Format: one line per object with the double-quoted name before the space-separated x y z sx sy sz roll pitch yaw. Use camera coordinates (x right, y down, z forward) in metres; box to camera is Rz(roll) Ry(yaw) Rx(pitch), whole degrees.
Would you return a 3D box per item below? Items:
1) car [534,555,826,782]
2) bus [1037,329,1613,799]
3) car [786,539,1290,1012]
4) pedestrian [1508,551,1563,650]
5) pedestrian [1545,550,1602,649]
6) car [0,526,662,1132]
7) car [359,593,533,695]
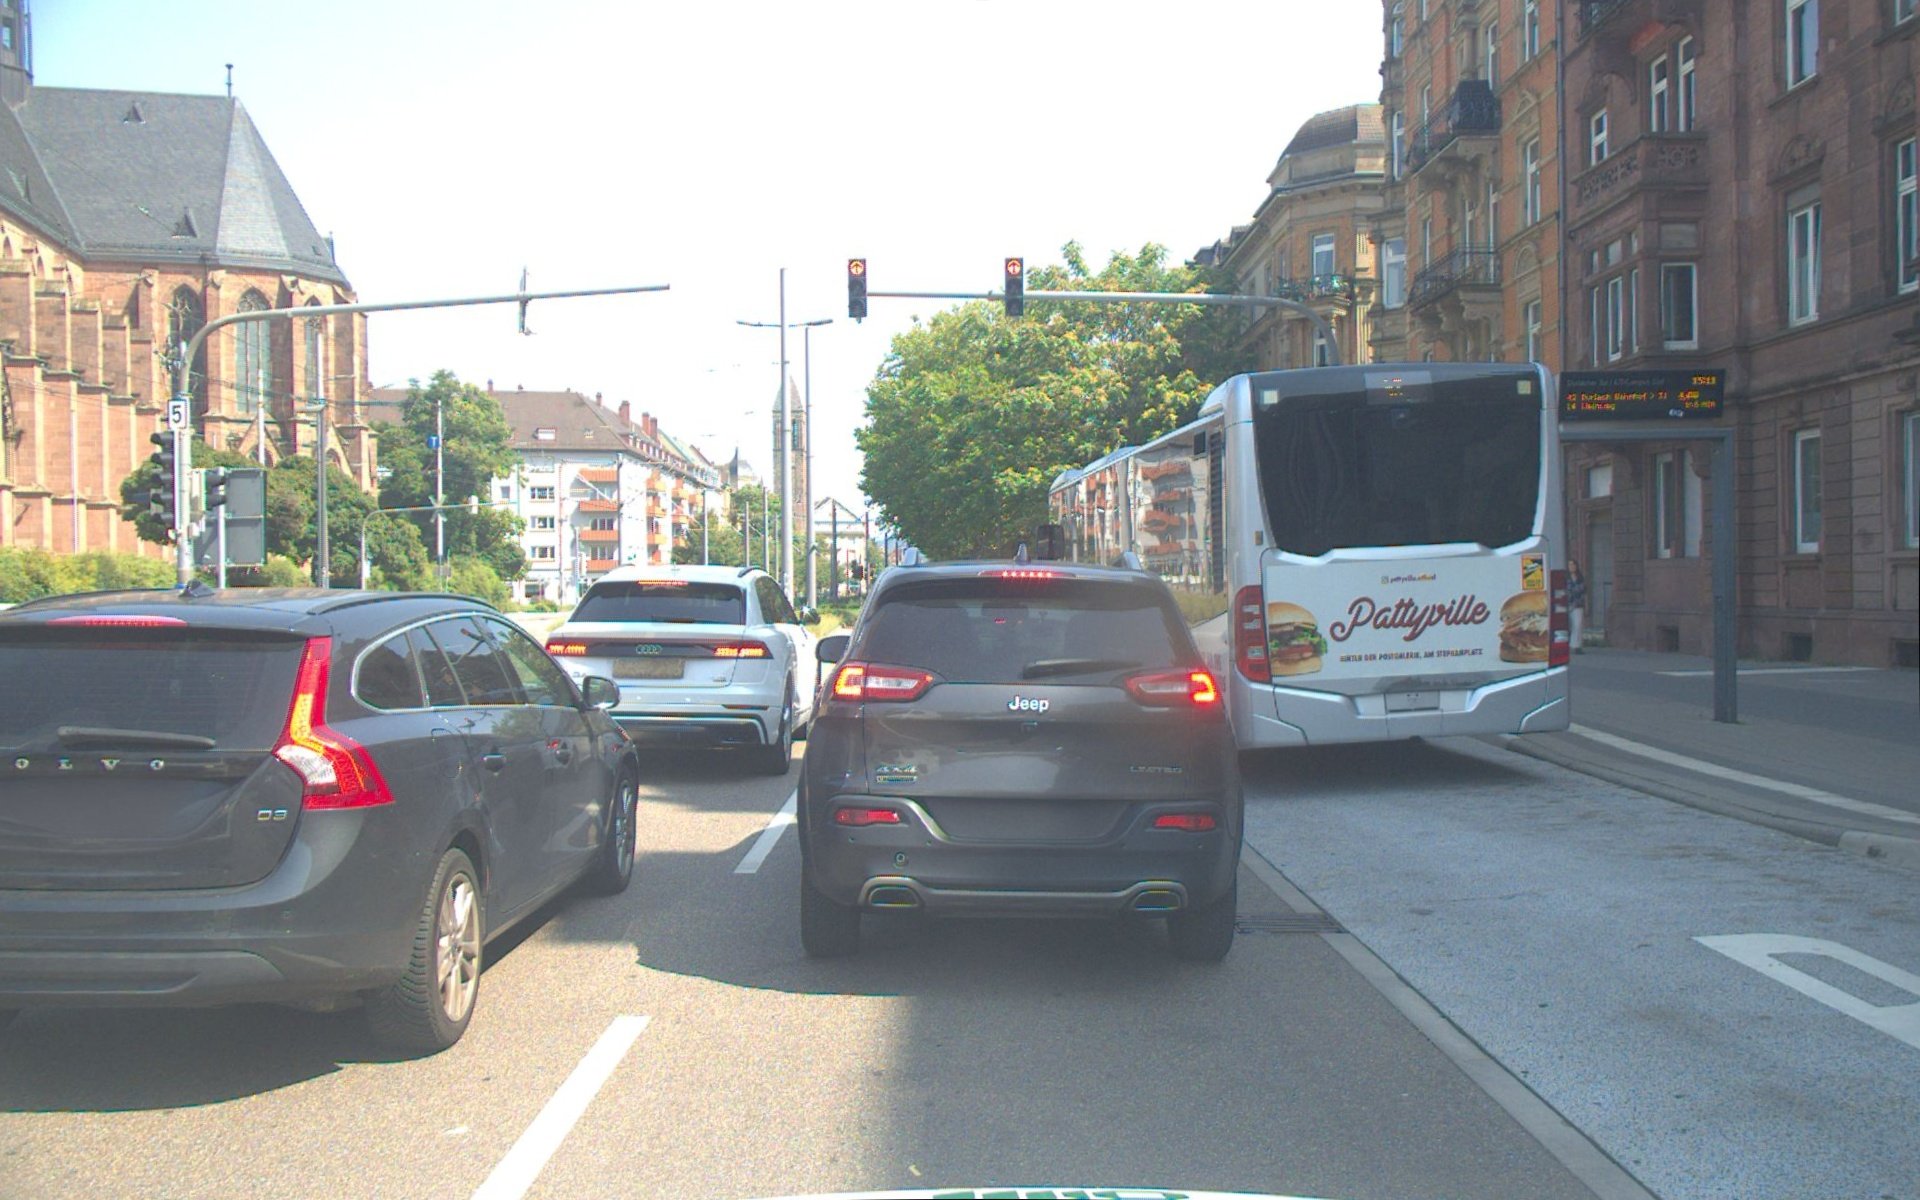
"car" -2.257 0.489 14.460 1.863 1.680 4.308 0 1 -1
"bus" 2.864 -0.264 17.600 2.689 3.161 11.947 -3 0 -3
"car" 0.295 0.614 8.100 1.795 1.680 4.308 1 0 0
"pedestrian" 10.694 0.001 30.765 0.700 1.807 0.847 -1 0 -2
"pedestrian" 11.405 -0.018 30.786 0.700 1.809 0.870 -1 0 -2
"car" -2.426 0.608 6.647 1.712 1.642 4.308 1 0 -1
"car" -8.455 0.658 27.601 1.712 1.460 4.569 -2 1 -4
